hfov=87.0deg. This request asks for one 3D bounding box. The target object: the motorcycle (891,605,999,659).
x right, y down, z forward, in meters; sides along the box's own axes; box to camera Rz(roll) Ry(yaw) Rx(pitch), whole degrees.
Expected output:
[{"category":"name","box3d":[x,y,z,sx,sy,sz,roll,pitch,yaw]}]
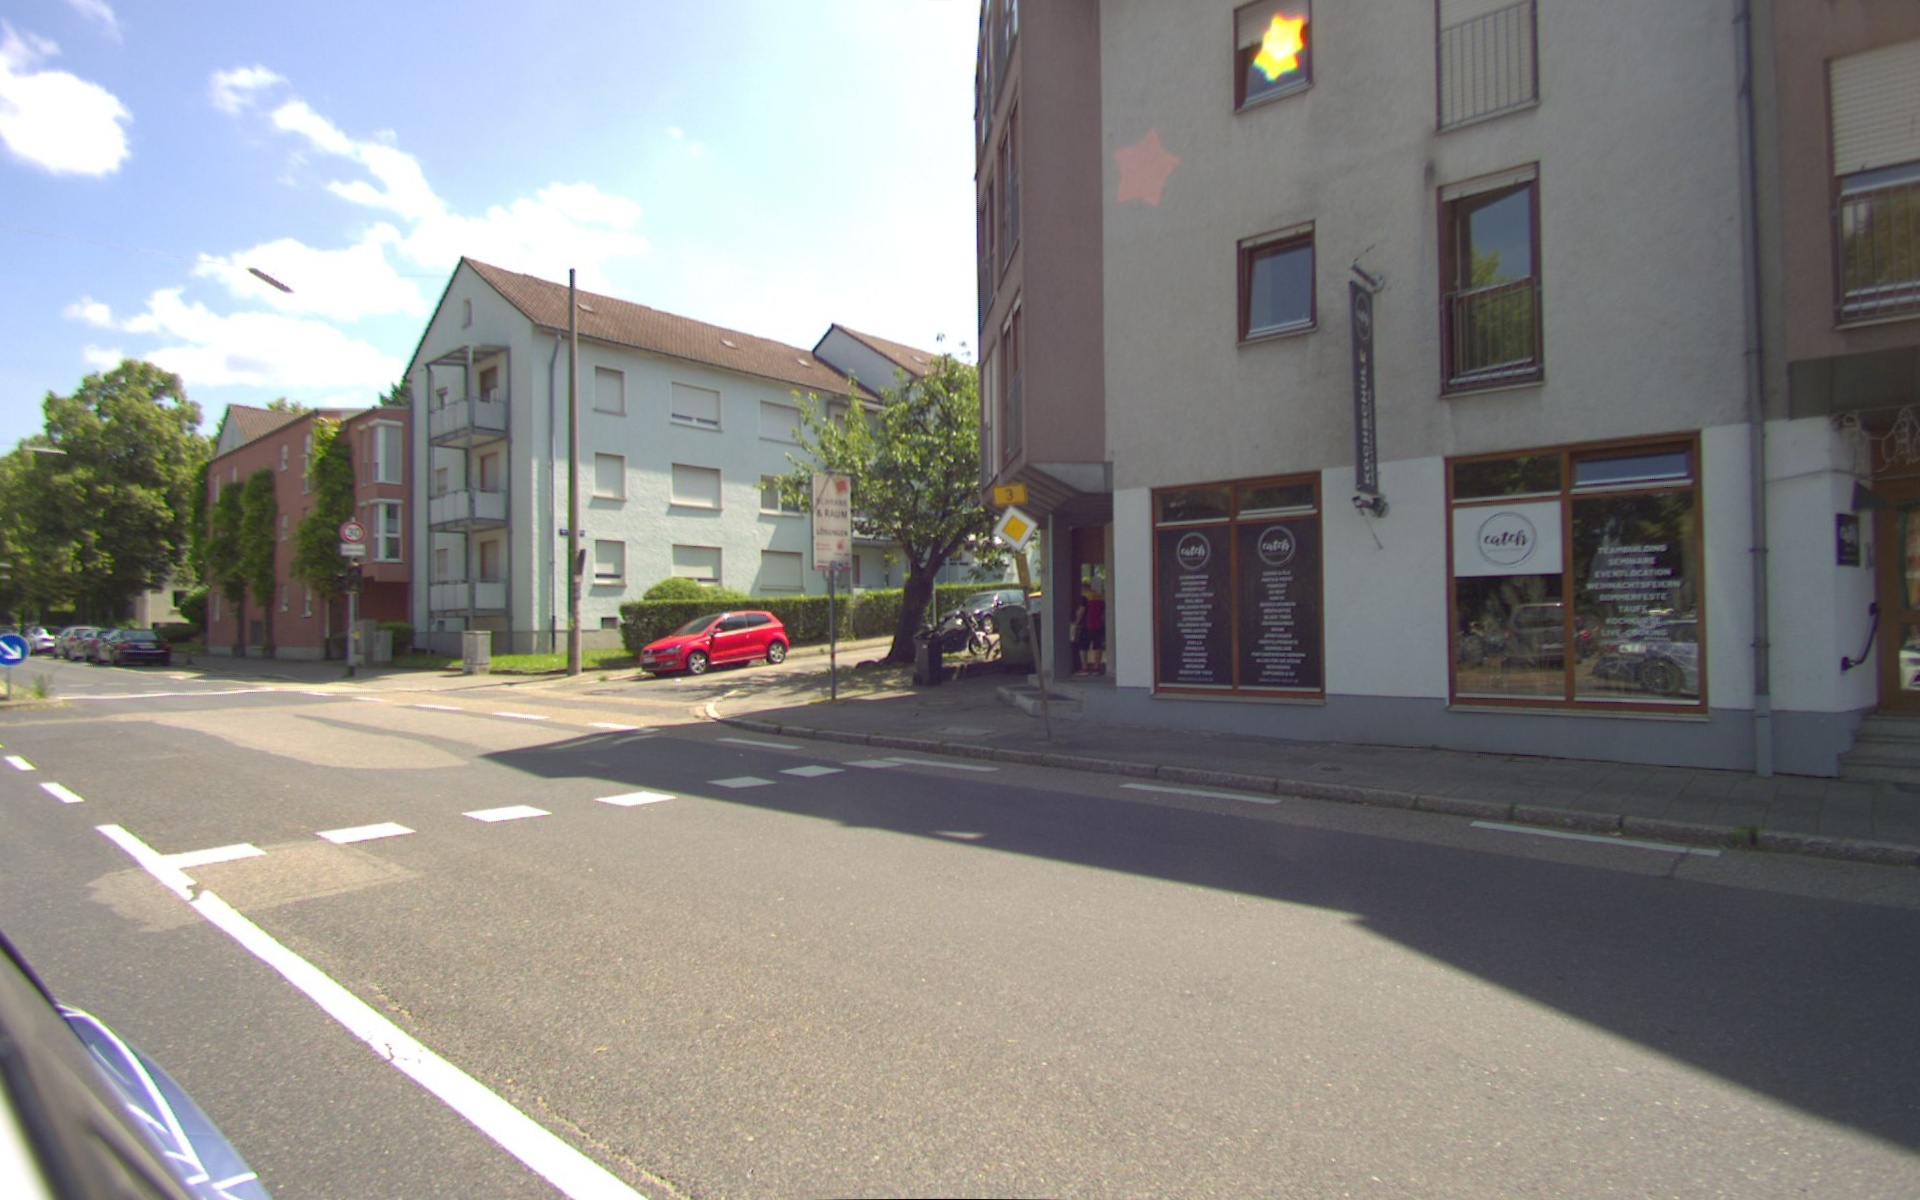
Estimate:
[{"category":"motorcycle","box3d":[-0.359,0.778,24.555,2.372,1.042,0.922,-6,0,22]}]

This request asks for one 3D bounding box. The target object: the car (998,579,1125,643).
[{"category":"car","box3d":[2.942,0.277,28.721,1.654,1.424,3.741,-5,0,40]}]

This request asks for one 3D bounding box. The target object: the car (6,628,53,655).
[{"category":"car","box3d":[-55.302,2.432,60.125,3.997,1.519,1.552,-2,-1,40]}]

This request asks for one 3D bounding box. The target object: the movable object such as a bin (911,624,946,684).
[{"category":"movable object such as a bin","box3d":[-0.587,0.998,18.969,0.624,1.105,0.673,0,-2,1]}]

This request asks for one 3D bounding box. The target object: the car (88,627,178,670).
[{"category":"car","box3d":[-32.177,1.852,39.353,4.564,1.551,1.867,-2,-2,40]}]

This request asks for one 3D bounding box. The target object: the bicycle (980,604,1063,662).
[{"category":"bicycle","box3d":[1.407,0.733,22.738,0.756,1.244,2.235,-2,-2,37]}]

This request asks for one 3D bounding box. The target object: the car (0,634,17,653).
[{"category":"car","box3d":[-68.549,3.105,71.950,3.605,1.343,1.735,-2,-1,40]}]

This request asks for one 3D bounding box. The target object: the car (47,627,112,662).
[{"category":"car","box3d":[-41.492,2.063,47.655,3.997,1.519,1.730,-2,-1,40]}]

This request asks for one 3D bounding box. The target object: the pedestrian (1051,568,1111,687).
[{"category":"pedestrian","box3d":[2.116,0.470,17.754,0.836,2.029,0.593,-2,-1,34]}]

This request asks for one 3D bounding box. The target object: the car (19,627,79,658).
[{"category":"car","box3d":[-46.861,2.170,52.034,3.997,1.453,1.730,-2,-1,40]}]

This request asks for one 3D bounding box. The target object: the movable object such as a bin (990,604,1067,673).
[{"category":"movable object such as a bin","box3d":[1.424,0.780,21.020,1.084,1.377,1.262,-2,-1,36]}]

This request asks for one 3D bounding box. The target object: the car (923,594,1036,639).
[{"category":"car","box3d":[0.683,0.526,33.565,1.731,1.160,3.742,-6,-1,40]}]

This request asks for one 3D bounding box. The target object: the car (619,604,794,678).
[{"category":"car","box3d":[-6.279,0.986,25.401,1.731,1.462,3.948,-4,1,40]}]

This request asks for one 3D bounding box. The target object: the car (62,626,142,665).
[{"category":"car","box3d":[-36.958,1.923,43.543,4.564,1.551,1.867,-2,-2,40]}]

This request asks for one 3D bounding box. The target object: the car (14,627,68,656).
[{"category":"car","box3d":[-51.475,2.293,56.658,3.997,1.519,1.730,-2,-1,40]}]
